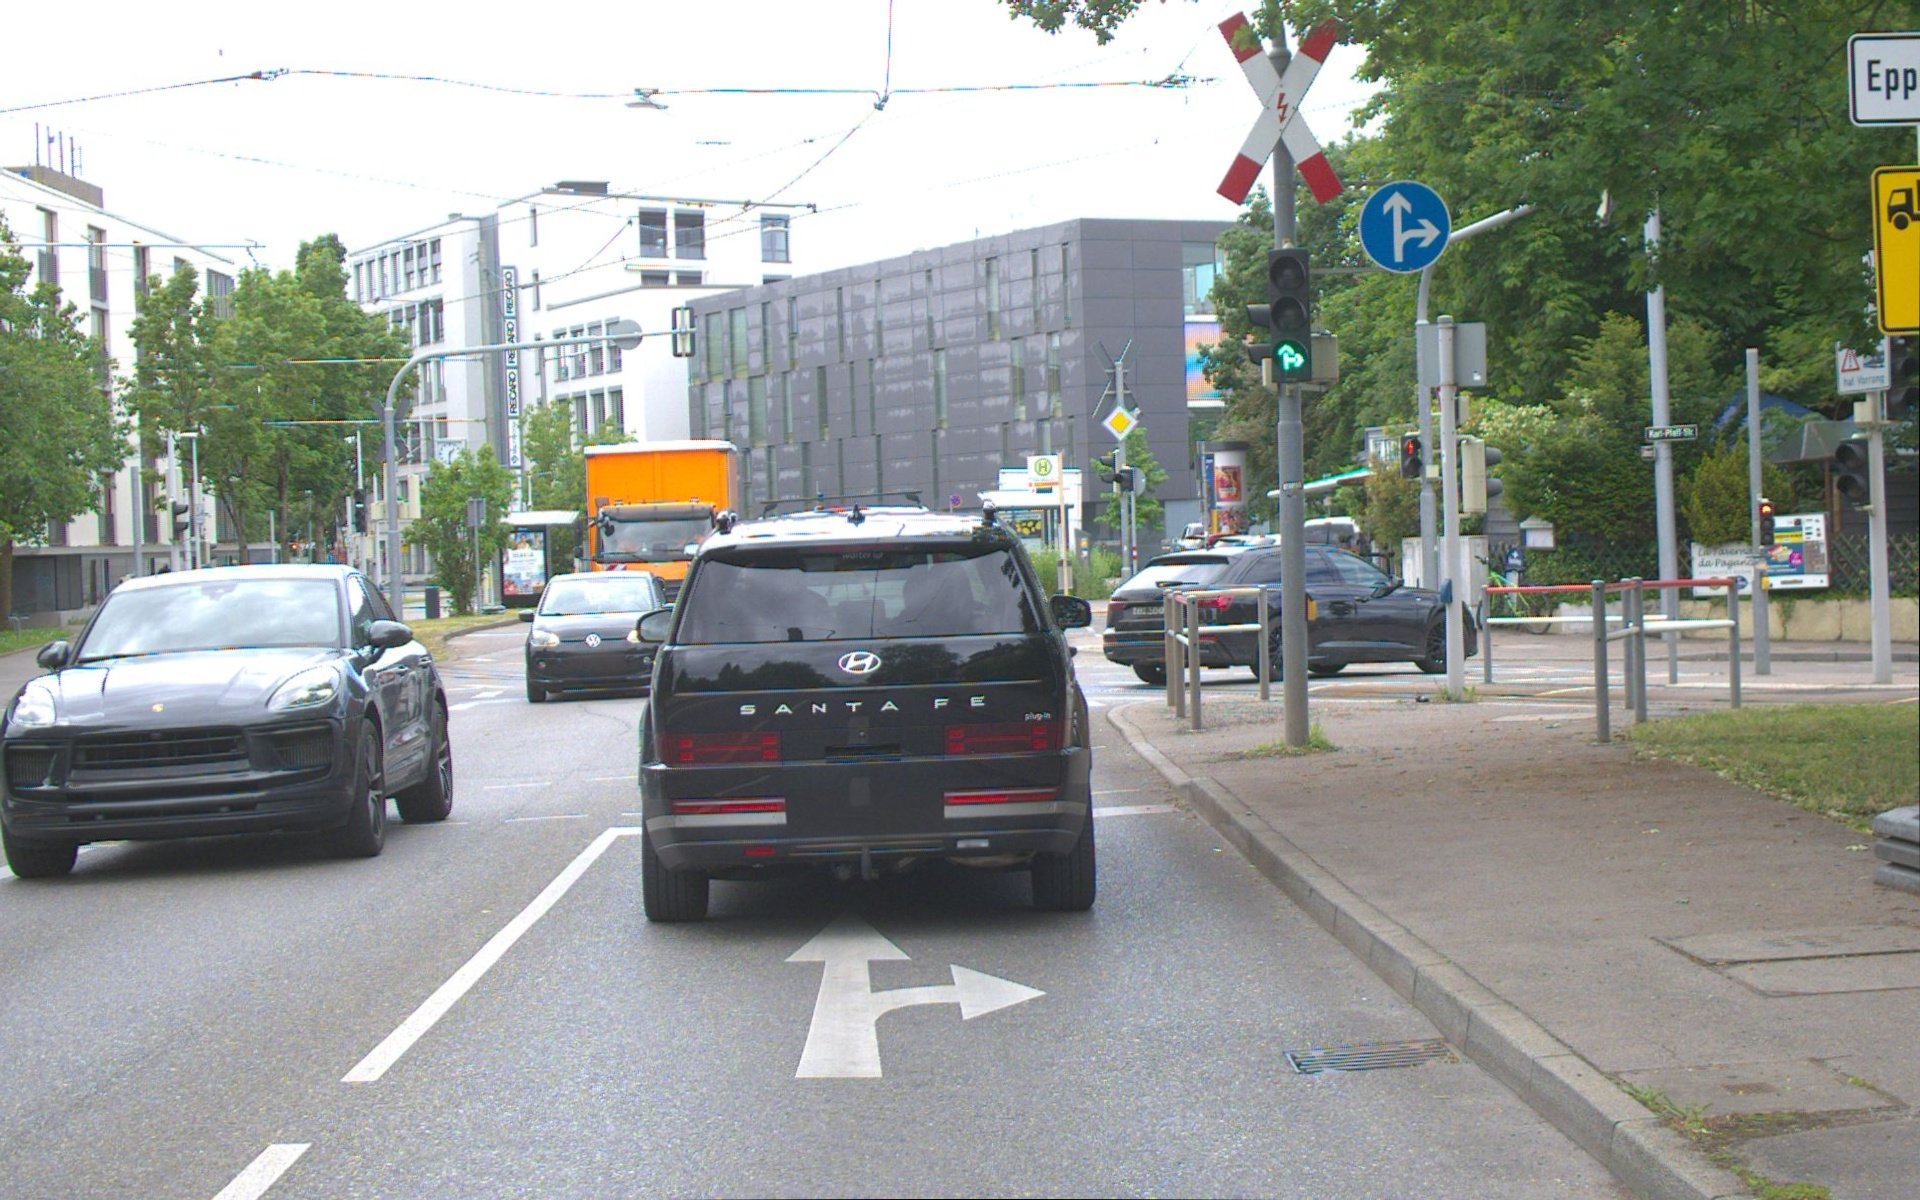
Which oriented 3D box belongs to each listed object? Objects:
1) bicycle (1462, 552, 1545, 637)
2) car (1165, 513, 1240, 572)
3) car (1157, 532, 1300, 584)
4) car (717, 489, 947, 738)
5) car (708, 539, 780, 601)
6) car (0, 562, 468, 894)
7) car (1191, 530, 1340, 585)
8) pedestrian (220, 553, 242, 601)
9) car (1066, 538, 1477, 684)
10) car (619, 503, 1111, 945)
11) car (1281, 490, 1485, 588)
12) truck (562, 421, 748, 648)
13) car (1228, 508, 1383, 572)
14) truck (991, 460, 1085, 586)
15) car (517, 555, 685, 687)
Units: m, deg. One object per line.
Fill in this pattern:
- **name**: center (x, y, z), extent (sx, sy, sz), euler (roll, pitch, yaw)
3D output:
- **bicycle**: center (8.076, -0.095, 51.152), extent (0.548, 1.135, 1.879), euler (-1, 4, -13)
- **car**: center (8.095, -1.898, 115.024), extent (1.993, 1.831, 4.518), euler (-3, 0, -1)
- **car**: center (7.847, -1.205, 100.582), extent (3.790, 1.468, 1.798), euler (0, 0, -26)
- **car**: center (-1.148, 0.055, 30.996), extent (1.855, 2.026, 4.438), euler (-2, 1, -2)
- **car**: center (-6.094, -0.873, 97.437), extent (1.788, 1.656, 4.277), euler (-2, 1, -1)
- **car**: center (-4.082, 0.617, 19.394), extent (1.939, 1.526, 4.526), euler (-4, 1, -1)
- **car**: center (8.466, -1.167, 95.187), extent (3.791, 1.468, 1.798), euler (0, 0, -31)
- **pedestrian**: center (-26.010, -0.829, 122.651), extent (0.613, 1.689, 0.785), euler (-1, 0, -1)
- **car**: center (3.413, 0.083, 37.049), extent (1.999, 1.458, 4.507), euler (0, 1, 45)
- **car**: center (-0.489, 0.442, 15.484), extent (1.915, 1.719, 4.171), euler (0, 1, -3)
- **car**: center (8.302, -1.218, 67.153), extent (1.849, 1.742, 4.686), euler (-1, 2, 37)
- **truck**: center (-5.471, -1.174, 63.048), extent (2.769, 3.706, 8.470), euler (-4, 1, -2)
- **car**: center (8.984, -1.563, 89.337), extent (3.638, 1.430, 1.591), euler (-4, 0, -28)
- **truck**: center (2.247, -2.269, 101.492), extent (2.573, 3.513, 7.810), euler (-2, 1, 1)
- **car**: center (-4.192, 0.209, 40.607), extent (1.663, 1.444, 3.828), euler (-2, 1, -2)
